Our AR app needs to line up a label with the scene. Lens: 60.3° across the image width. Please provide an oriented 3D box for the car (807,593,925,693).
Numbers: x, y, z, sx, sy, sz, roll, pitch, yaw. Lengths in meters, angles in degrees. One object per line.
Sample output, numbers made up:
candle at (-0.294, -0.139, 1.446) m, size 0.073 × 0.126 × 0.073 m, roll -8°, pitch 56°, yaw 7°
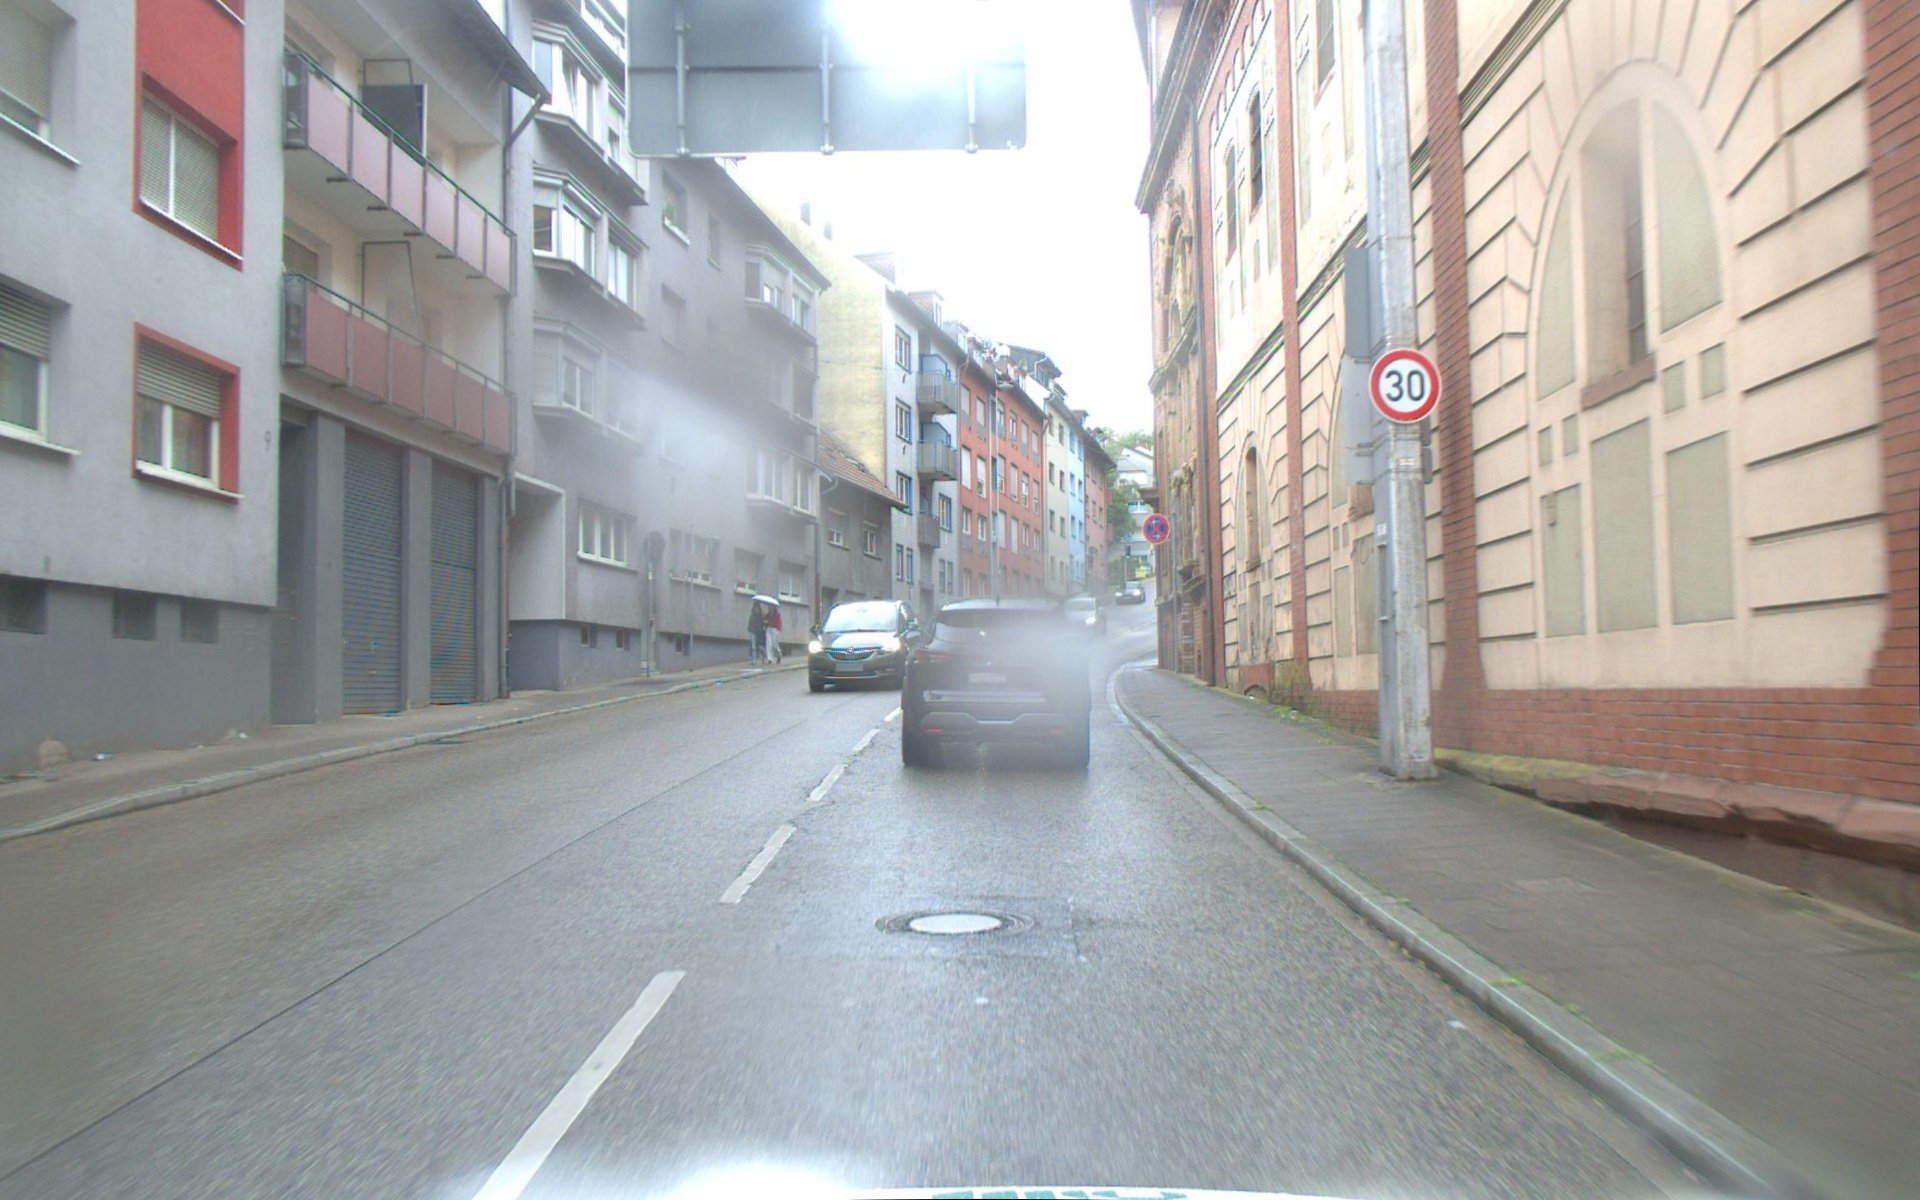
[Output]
car at (-1.691, 0.765, 31.053) m, size 1.727 × 1.686 × 3.988 m, roll -2°, pitch 0°, yaw 3°

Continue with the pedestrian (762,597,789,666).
pedestrian at (-4.921, 0.826, 44.163) m, size 0.512 × 1.807 × 0.623 m, roll -3°, pitch 0°, yaw 6°

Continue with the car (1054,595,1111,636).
car at (5.158, 0.613, 69.432) m, size 1.726 × 1.604 × 4.039 m, roll -3°, pitch 0°, yaw 13°

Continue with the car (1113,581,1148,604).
car at (11.344, -0.523, 109.926) m, size 1.609 × 1.402 × 3.854 m, roll -3°, pitch 0°, yaw 15°

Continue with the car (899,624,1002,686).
car at (-0.207, 1.498, 45.176) m, size 1.756 × 1.537 × 4.002 m, roll -3°, pitch -2°, yaw 15°

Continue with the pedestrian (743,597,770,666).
pedestrian at (-5.448, 0.846, 44.223) m, size 0.512 × 1.807 × 0.623 m, roll -3°, pitch 0°, yaw 6°

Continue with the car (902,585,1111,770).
car at (0.416, 0.721, 16.806) m, size 1.842 × 1.622 × 3.920 m, roll 1°, pitch -1°, yaw 0°
